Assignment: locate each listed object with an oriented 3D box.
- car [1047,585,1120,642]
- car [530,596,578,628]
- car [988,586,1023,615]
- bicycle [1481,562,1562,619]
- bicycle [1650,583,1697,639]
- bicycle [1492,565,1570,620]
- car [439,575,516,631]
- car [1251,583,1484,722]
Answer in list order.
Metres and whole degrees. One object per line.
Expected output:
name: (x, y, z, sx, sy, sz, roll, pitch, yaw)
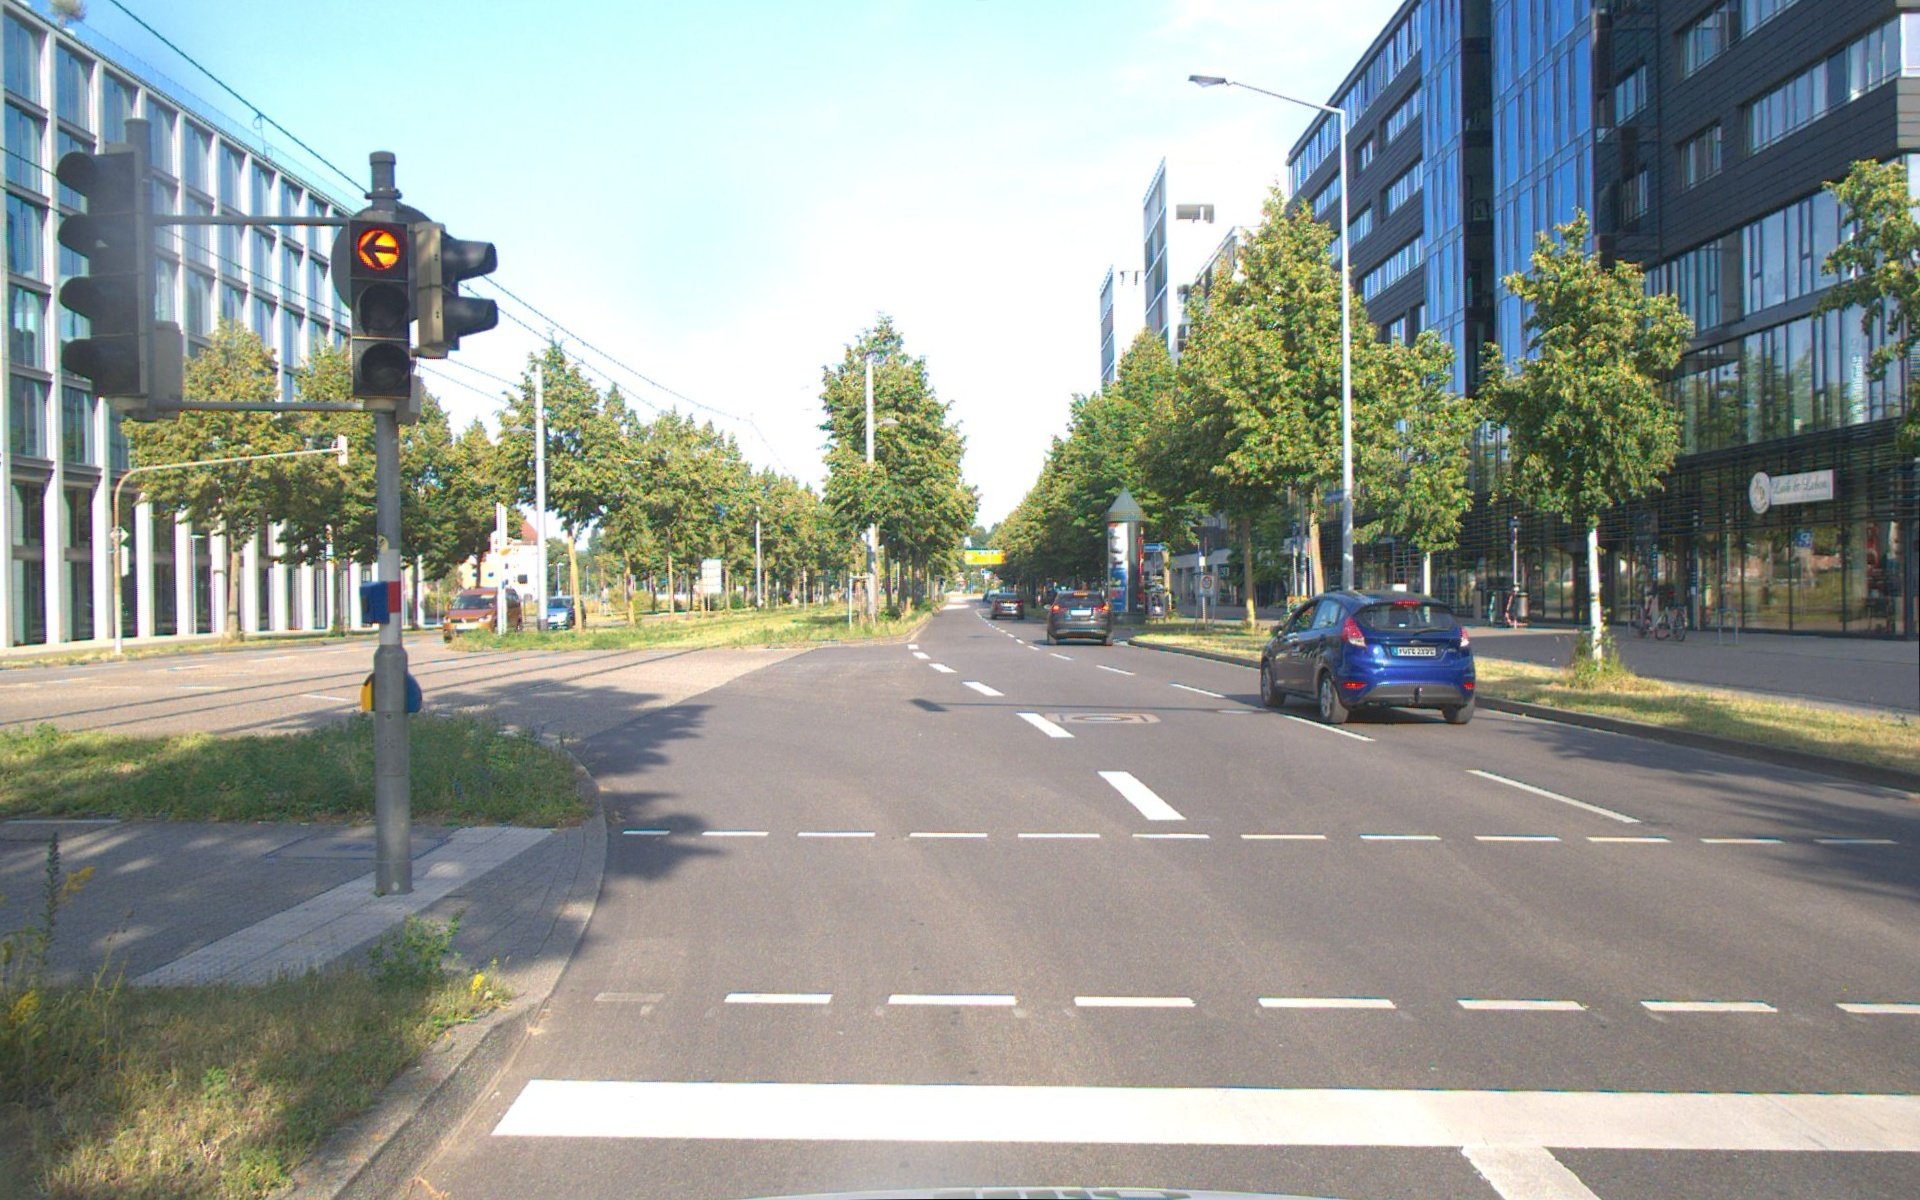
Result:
car: (3.316, 0.344, 44.997, 1.737, 1.449, 3.961, 1, 0, 1)
car: (-19.888, 0.571, 81.185, 1.606, 1.468, 3.953, 1, 0, -4)
car: (2.544, 0.021, 92.460, 1.821, 1.551, 3.785, 1, 0, 0)
bicycle: (19.005, -0.329, 55.987, 2.510, 1.890, 0.570, 1, 0, 9)
bicycle: (18.169, 0.279, 42.141, 0.365, 1.370, 1.894, 1, 0, 0)
bicycle: (18.974, -0.239, 54.980, 2.383, 1.776, 0.554, 1, 0, 9)
car: (-16.305, 0.111, 56.036, 1.651, 1.806, 3.879, 1, 0, -4)
car: (4.713, 0.548, 19.650, 1.529, 1.449, 3.904, 1, 1, -4)
